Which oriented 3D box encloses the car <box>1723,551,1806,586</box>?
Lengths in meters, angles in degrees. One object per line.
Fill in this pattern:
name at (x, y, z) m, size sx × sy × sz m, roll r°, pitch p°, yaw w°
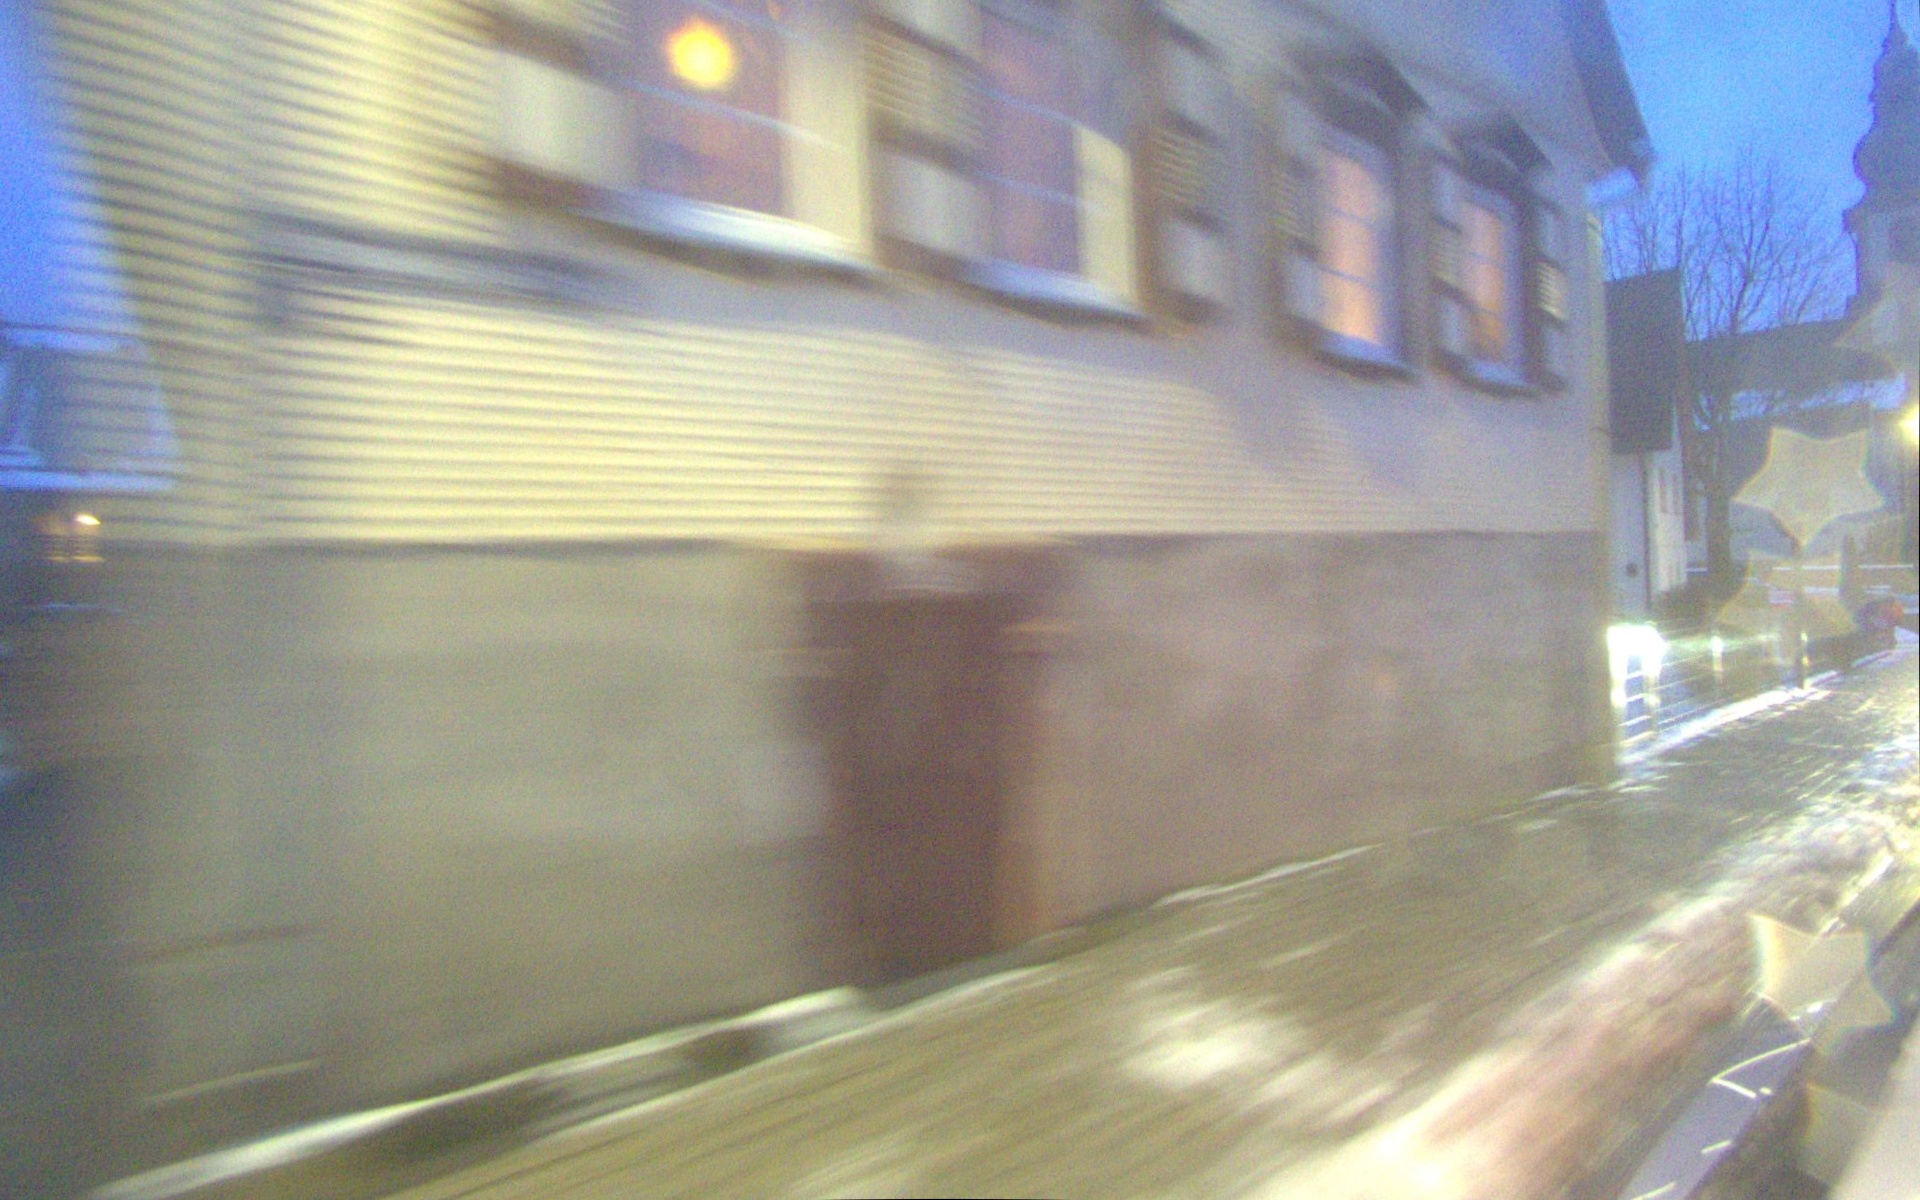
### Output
car at (35.169, -1.382, 44.361) m, size 1.735 × 1.430 × 4.053 m, roll -1°, pitch 1°, yaw 22°
